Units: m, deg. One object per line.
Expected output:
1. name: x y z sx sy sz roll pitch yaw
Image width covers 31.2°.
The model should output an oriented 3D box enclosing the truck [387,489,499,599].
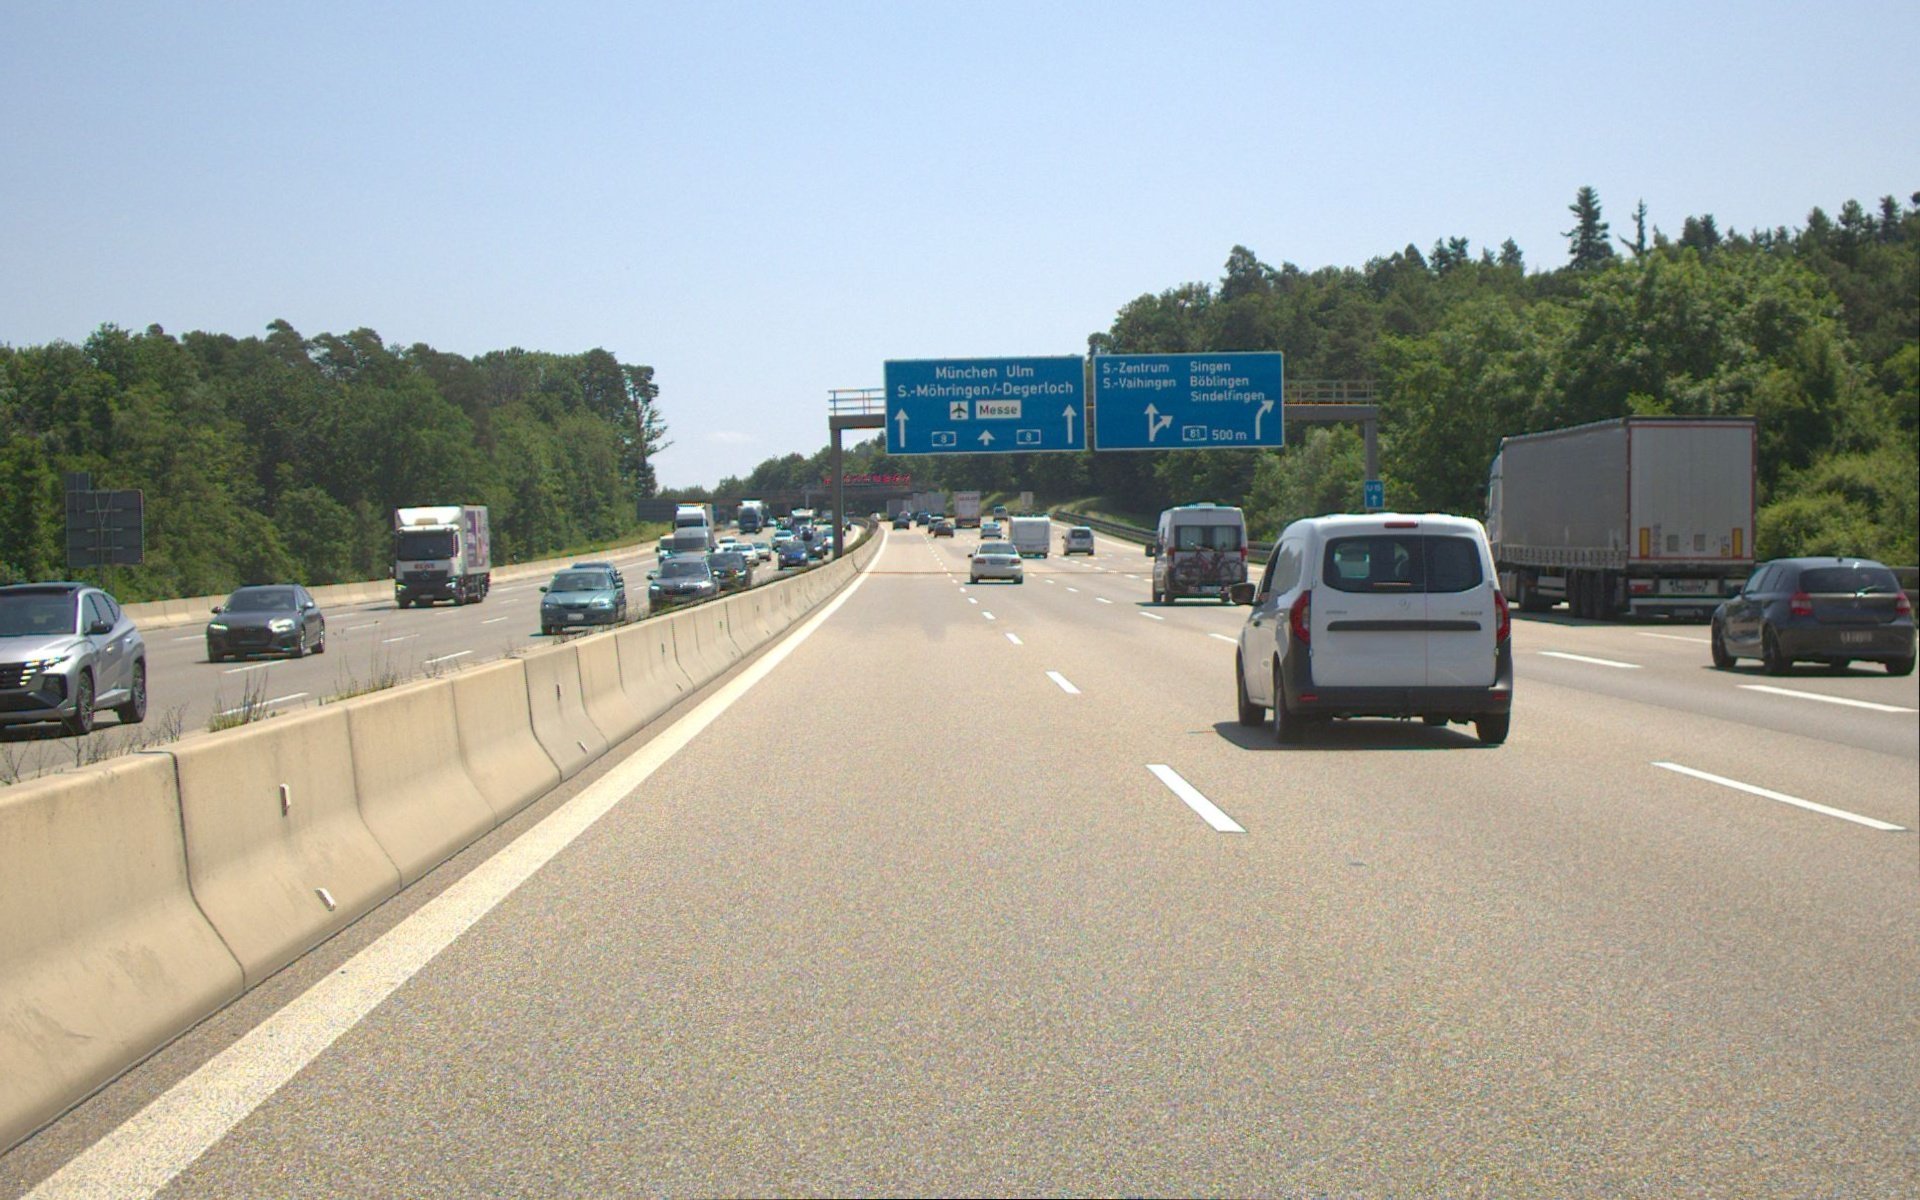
1. truck: -19.710 -2.110 131.650 2.719 3.926 10.236 -2 0 -1

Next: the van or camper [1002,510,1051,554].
1. van or camper: 3.988 -4.090 207.721 2.645 2.530 6.502 -2 1 -1

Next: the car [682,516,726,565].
1. car: -14.107 -3.322 189.913 1.930 2.598 7.231 -2 2 -1

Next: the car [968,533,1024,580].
1. car: 1.292 -1.569 124.509 1.843 1.623 4.553 -2 0 -1

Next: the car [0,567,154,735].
1. car: -10.500 0.546 38.694 1.970 1.718 4.509 -3 1 -4

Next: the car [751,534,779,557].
1. car: -13.134 -3.665 231.518 1.678 1.439 3.994 -3 1 -1

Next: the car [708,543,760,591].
1. car: -8.233 -1.213 125.373 1.614 1.656 3.849 -2 1 0

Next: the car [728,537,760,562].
1. car: -13.299 -3.110 211.706 1.678 1.439 4.527 -3 1 -1

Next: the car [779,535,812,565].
1. car: -9.165 -2.802 191.880 1.705 1.656 3.760 -1 1 -1

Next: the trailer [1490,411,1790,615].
1. trailer: 14.163 -1.855 73.174 3.287 3.917 13.892 0 1 -1

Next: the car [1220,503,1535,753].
1. car: 3.320 0.185 28.200 1.859 1.819 4.612 -2 1 -1

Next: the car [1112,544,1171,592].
1. car: 6.578 -1.167 124.773 1.818 1.634 4.000 -2 1 -1

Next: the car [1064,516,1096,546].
1. car: 7.639 -4.408 218.824 1.820 1.853 4.000 -1 2 -1

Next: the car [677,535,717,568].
1. car: -12.987 -2.415 170.130 1.705 1.559 3.760 -1 1 -1

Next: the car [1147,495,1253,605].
1. car: 6.102 -1.283 88.065 2.143 2.643 5.710 -2 1 -1

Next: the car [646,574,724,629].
1. car: -7.298 0.020 91.668 1.752 1.372 4.491 -1 1 -1

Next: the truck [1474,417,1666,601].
1. truck: 14.038 -2.100 79.577 3.254 4.092 5.988 0 1 -1

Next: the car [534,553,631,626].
1. car: -8.500 -0.263 77.650 1.717 1.507 4.351 -2 1 -1

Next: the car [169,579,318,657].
1. car: -13.663 0.313 65.833 1.922 1.345 5.045 -2 1 -2

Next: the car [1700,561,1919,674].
1. car: 10.417 0.179 42.200 1.670 1.269 4.290 0 1 -1
